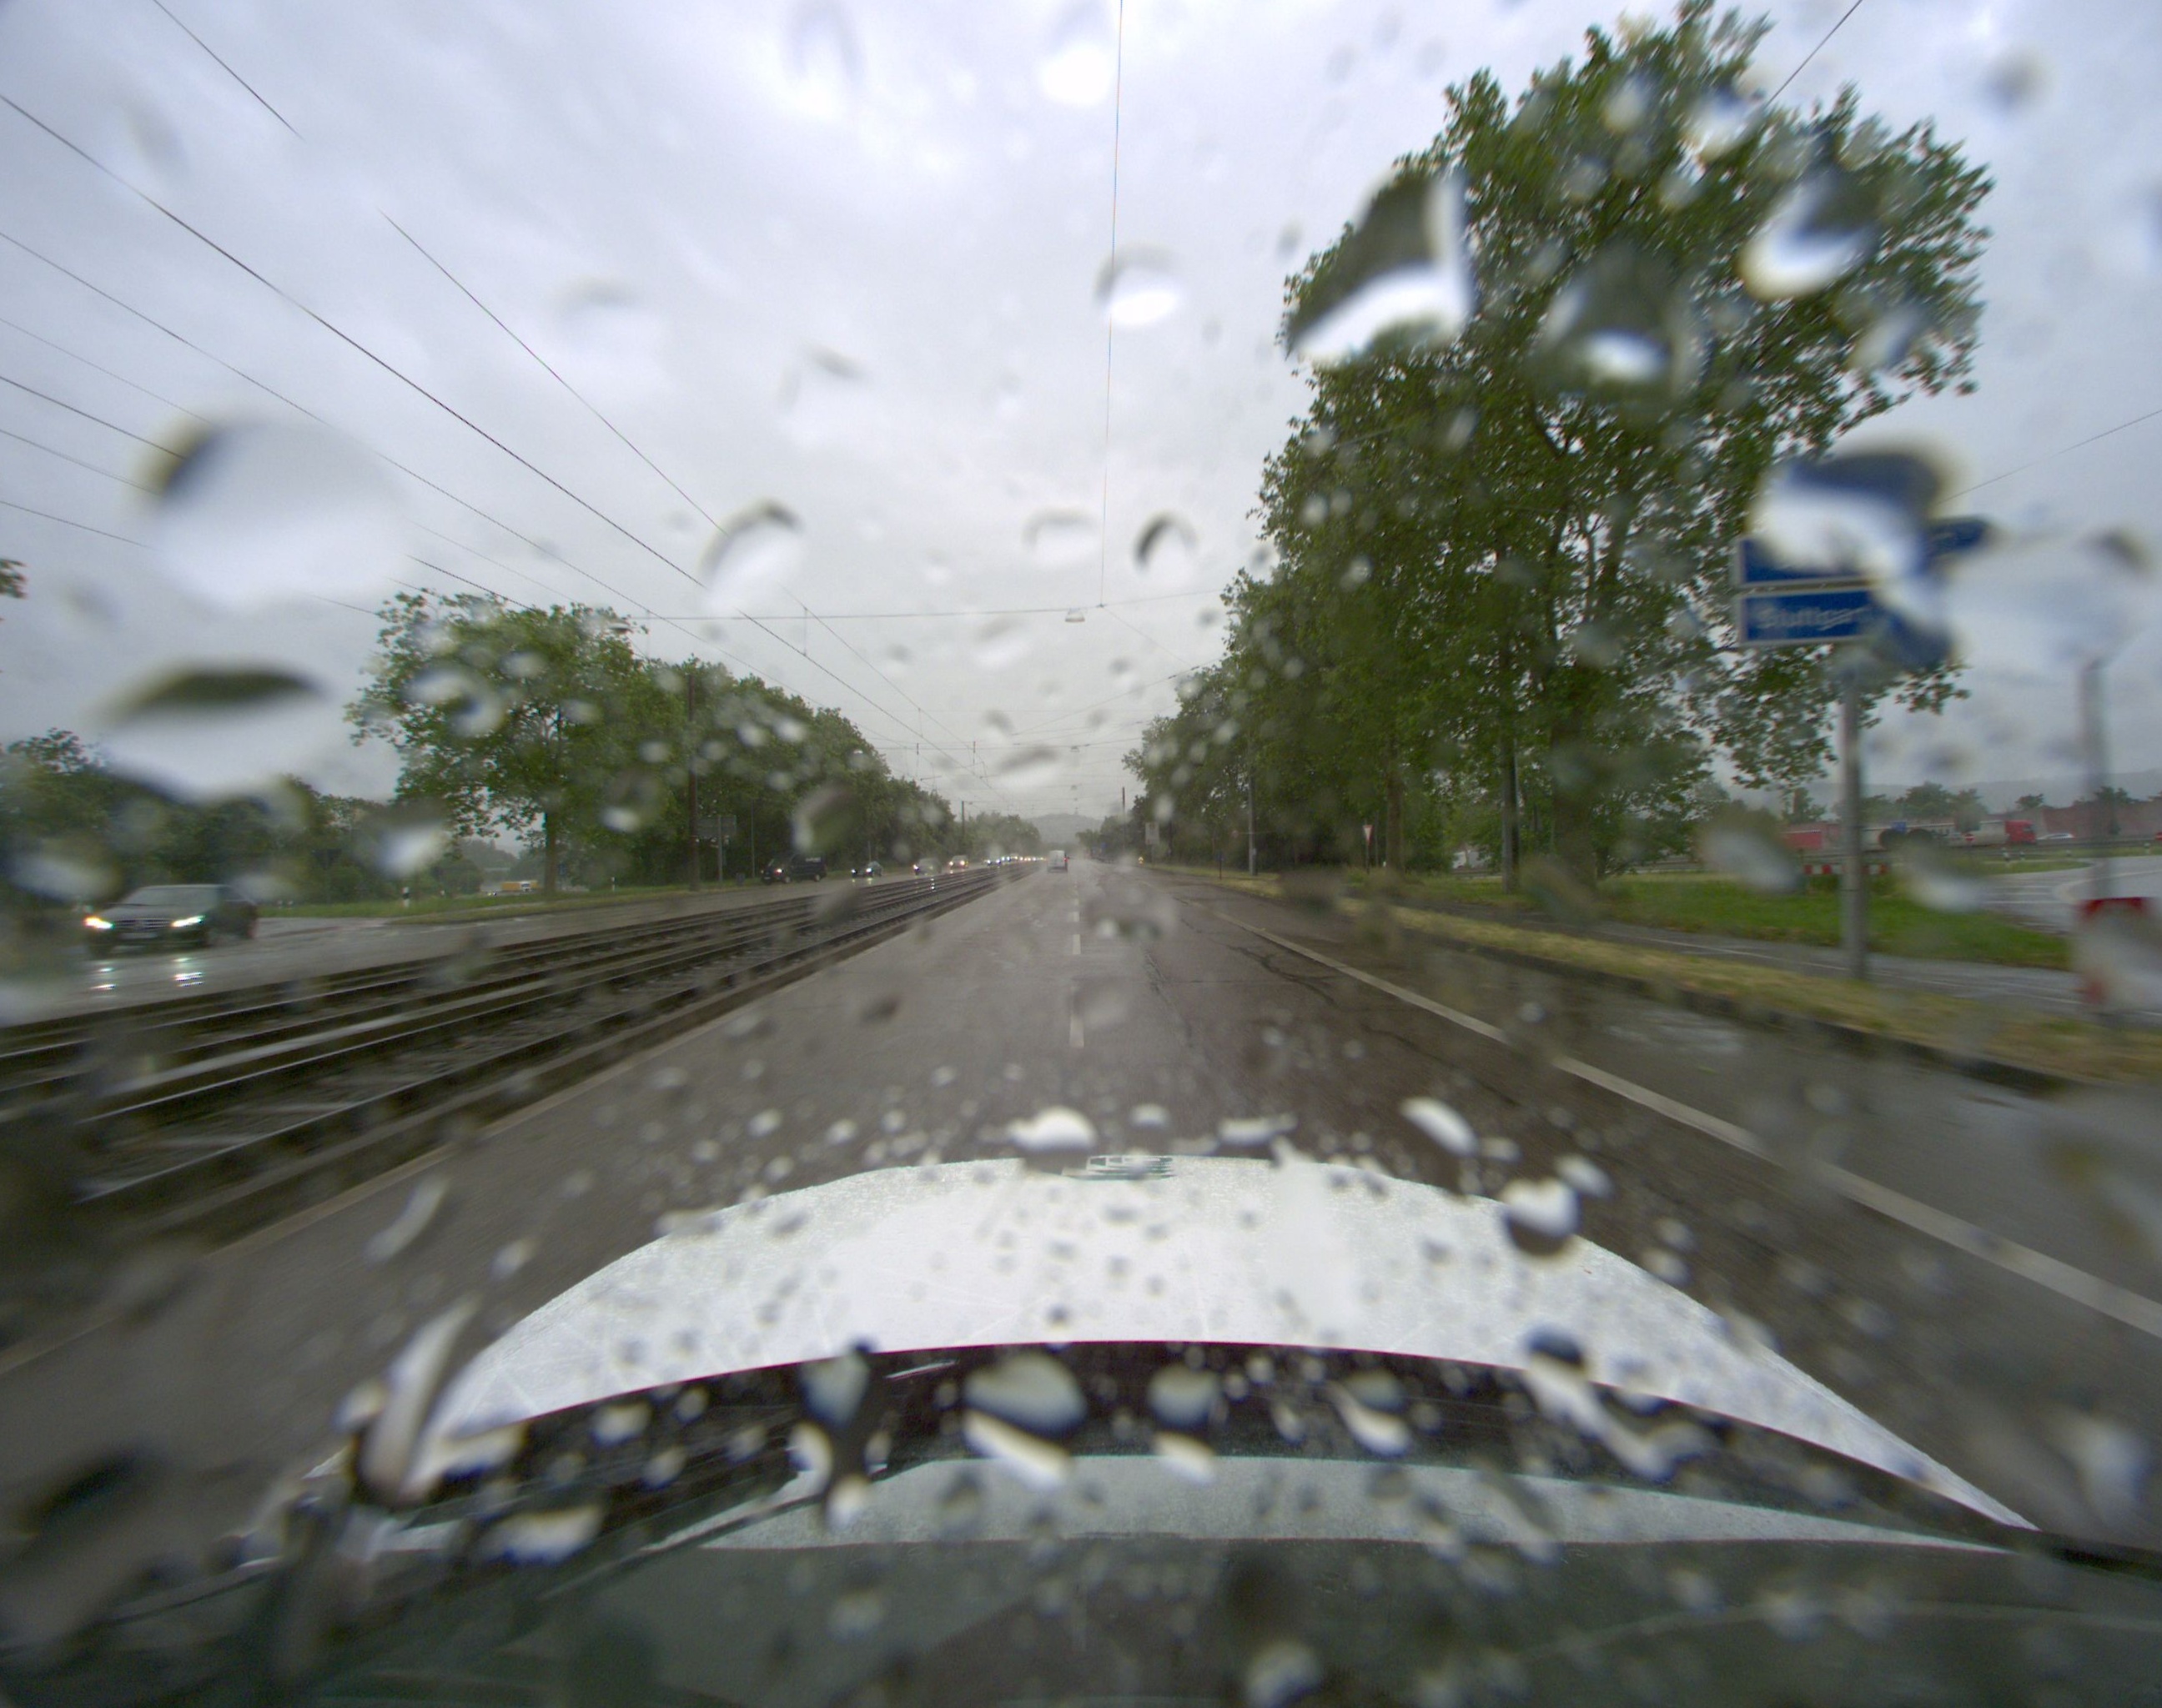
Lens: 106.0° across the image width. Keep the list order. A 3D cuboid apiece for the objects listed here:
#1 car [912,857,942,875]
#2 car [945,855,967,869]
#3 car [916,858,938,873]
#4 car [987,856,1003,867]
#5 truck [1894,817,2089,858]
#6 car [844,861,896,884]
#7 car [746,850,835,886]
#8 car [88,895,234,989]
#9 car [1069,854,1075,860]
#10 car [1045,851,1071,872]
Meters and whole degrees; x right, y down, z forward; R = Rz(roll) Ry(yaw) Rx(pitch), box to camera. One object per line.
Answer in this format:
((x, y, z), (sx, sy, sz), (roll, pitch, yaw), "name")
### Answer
((-13.905, 1.053, 73.934), (1.785, 1.549, 5.311), (0, 1, -1), "car")
((-15.898, 1.008, 103.852), (1.814, 1.706, 6.103), (0, 1, 0), "car")
((-18.836, 1.389, 99.704), (1.814, 1.706, 5.019), (0, 1, 0), "car")
((-12.572, 1.088, 119.200), (1.770, 1.585, 5.680), (0, 1, -1), "car")
((118.191, -2.078, 106.308), (16.560, 4.159, 3.312), (-4, -2, 30), "truck")
((-18.648, 1.620, 72.155), (2.065, 1.798, 4.789), (0, 1, 21), "car")
((-21.253, 0.984, 59.819), (2.309, 2.425, 5.886), (1, 1, 38), "car")
((-21.680, 1.951, 19.143), (4.590, 1.686, 1.859), (1, 1, 36), "car")
((-2.453, 0.760, 226.744), (1.738, 1.508, 3.699), (0, 1, -1), "car")
((-1.959, 0.626, 70.242), (1.982, 1.684, 3.741), (0, 1, 1), "car")
